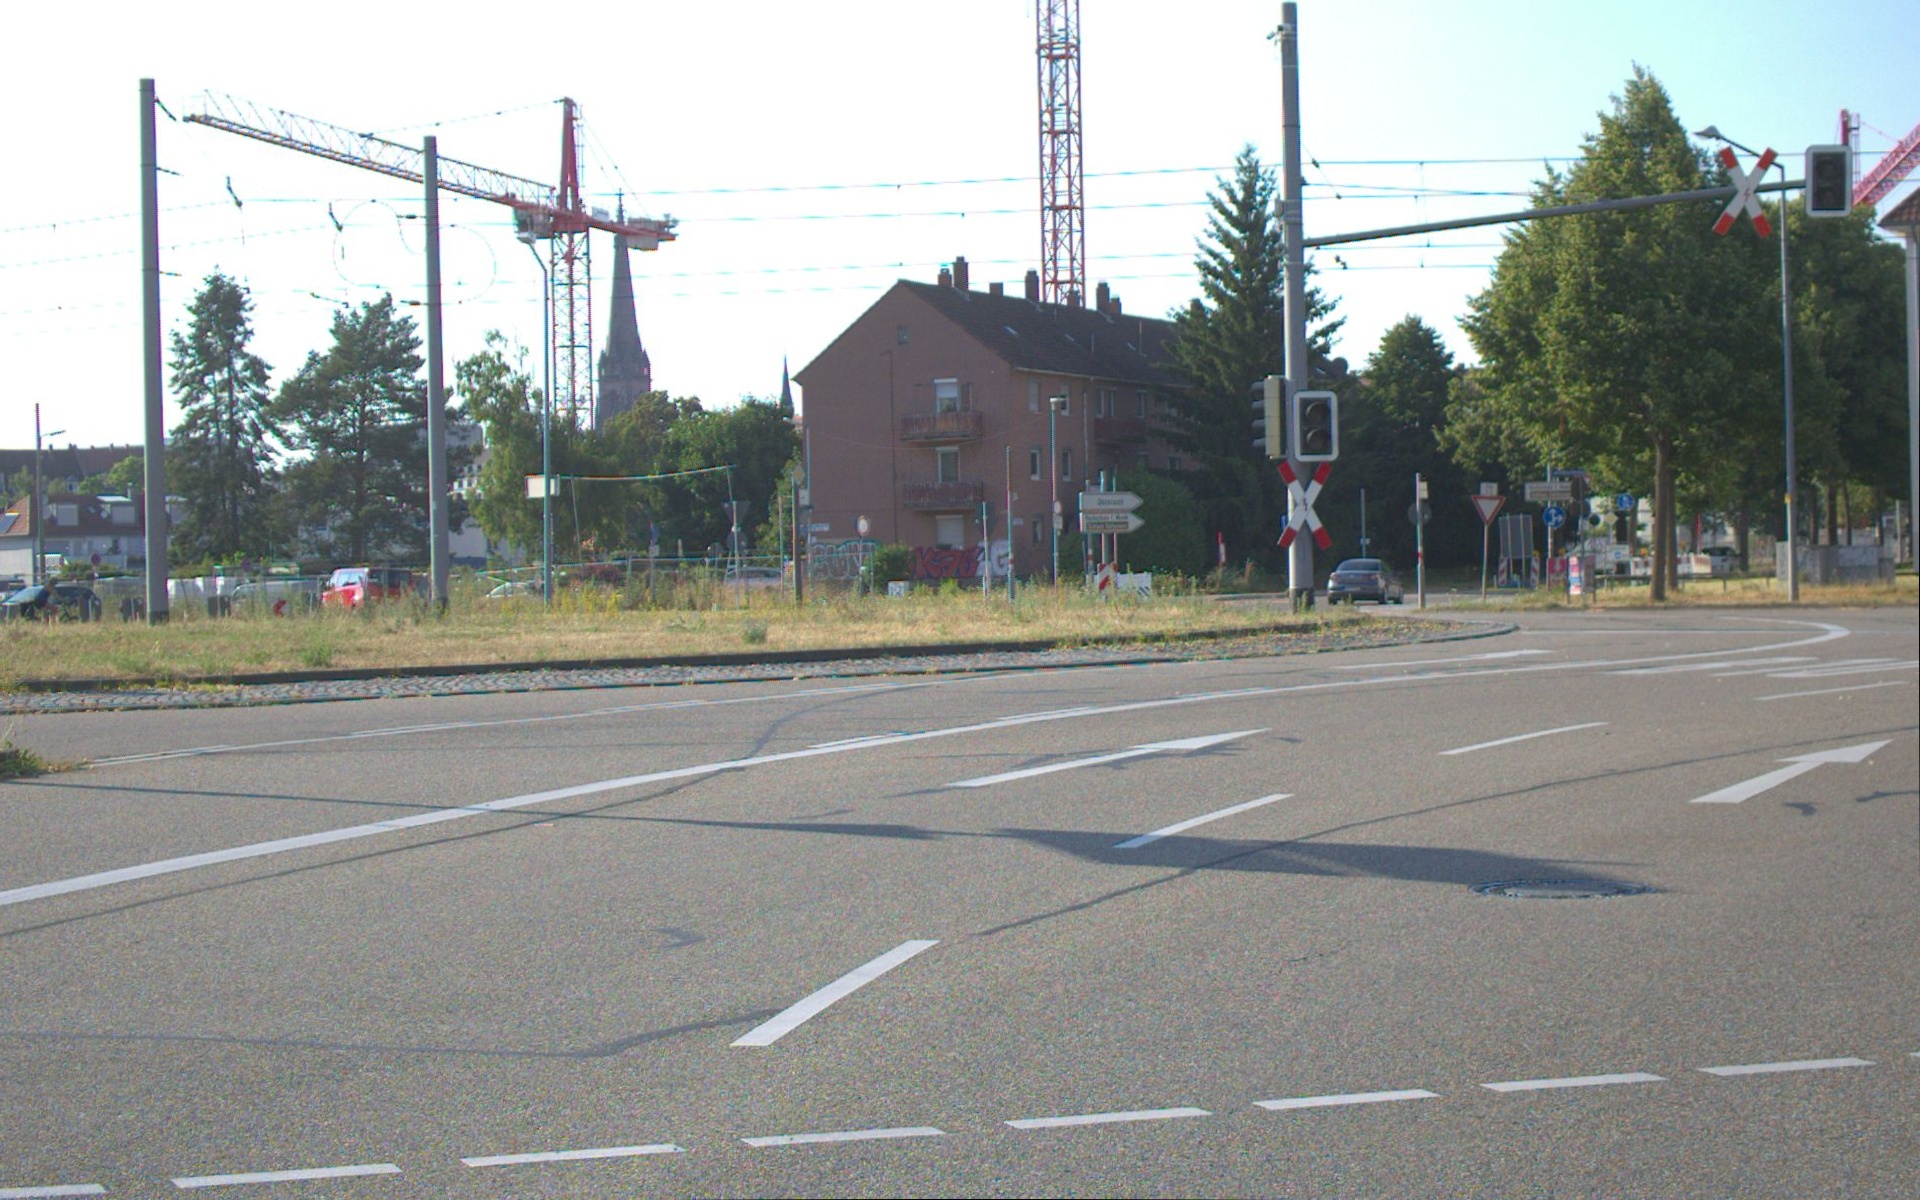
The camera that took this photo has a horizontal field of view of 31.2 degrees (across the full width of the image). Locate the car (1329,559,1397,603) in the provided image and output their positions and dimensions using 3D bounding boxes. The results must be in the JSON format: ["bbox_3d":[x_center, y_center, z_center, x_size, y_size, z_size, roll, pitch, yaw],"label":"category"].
[{"bbox_3d":[12.458,-0.598,106.115,1.456,1.295,3.546,-1,1,17],"label":"car"}]

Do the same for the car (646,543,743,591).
[{"bbox_3d":[-11.545,-1.442,149.446,3.812,2.007,1.670,-1,0,19],"label":"car"}]

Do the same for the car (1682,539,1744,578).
[{"bbox_3d":[34.588,-1.898,157.830,1.996,1.774,3.995,1,1,24],"label":"car"}]

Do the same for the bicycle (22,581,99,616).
[{"bbox_3d":[-24.875,-0.048,95.083,1.987,0.915,0.430,-1,1,-6],"label":"bicycle"}]

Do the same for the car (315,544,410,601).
[{"bbox_3d":[-20.201,-0.943,116.148,1.919,1.847,4.000,-2,1,-29],"label":"car"}]

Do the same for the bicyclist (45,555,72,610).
[{"bbox_3d":[-24.921,-0.491,95.069,0.622,1.506,0.419,-1,1,-5],"label":"bicyclist"}]

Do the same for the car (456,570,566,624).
[{"bbox_3d":[-17.300,-0.114,132.516,3.812,2.007,1.670,-1,0,19],"label":"car"}]

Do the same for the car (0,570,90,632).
[{"bbox_3d":[-28.862,0.022,104.947,3.987,1.809,2.000,-2,1,-32],"label":"car"}]
